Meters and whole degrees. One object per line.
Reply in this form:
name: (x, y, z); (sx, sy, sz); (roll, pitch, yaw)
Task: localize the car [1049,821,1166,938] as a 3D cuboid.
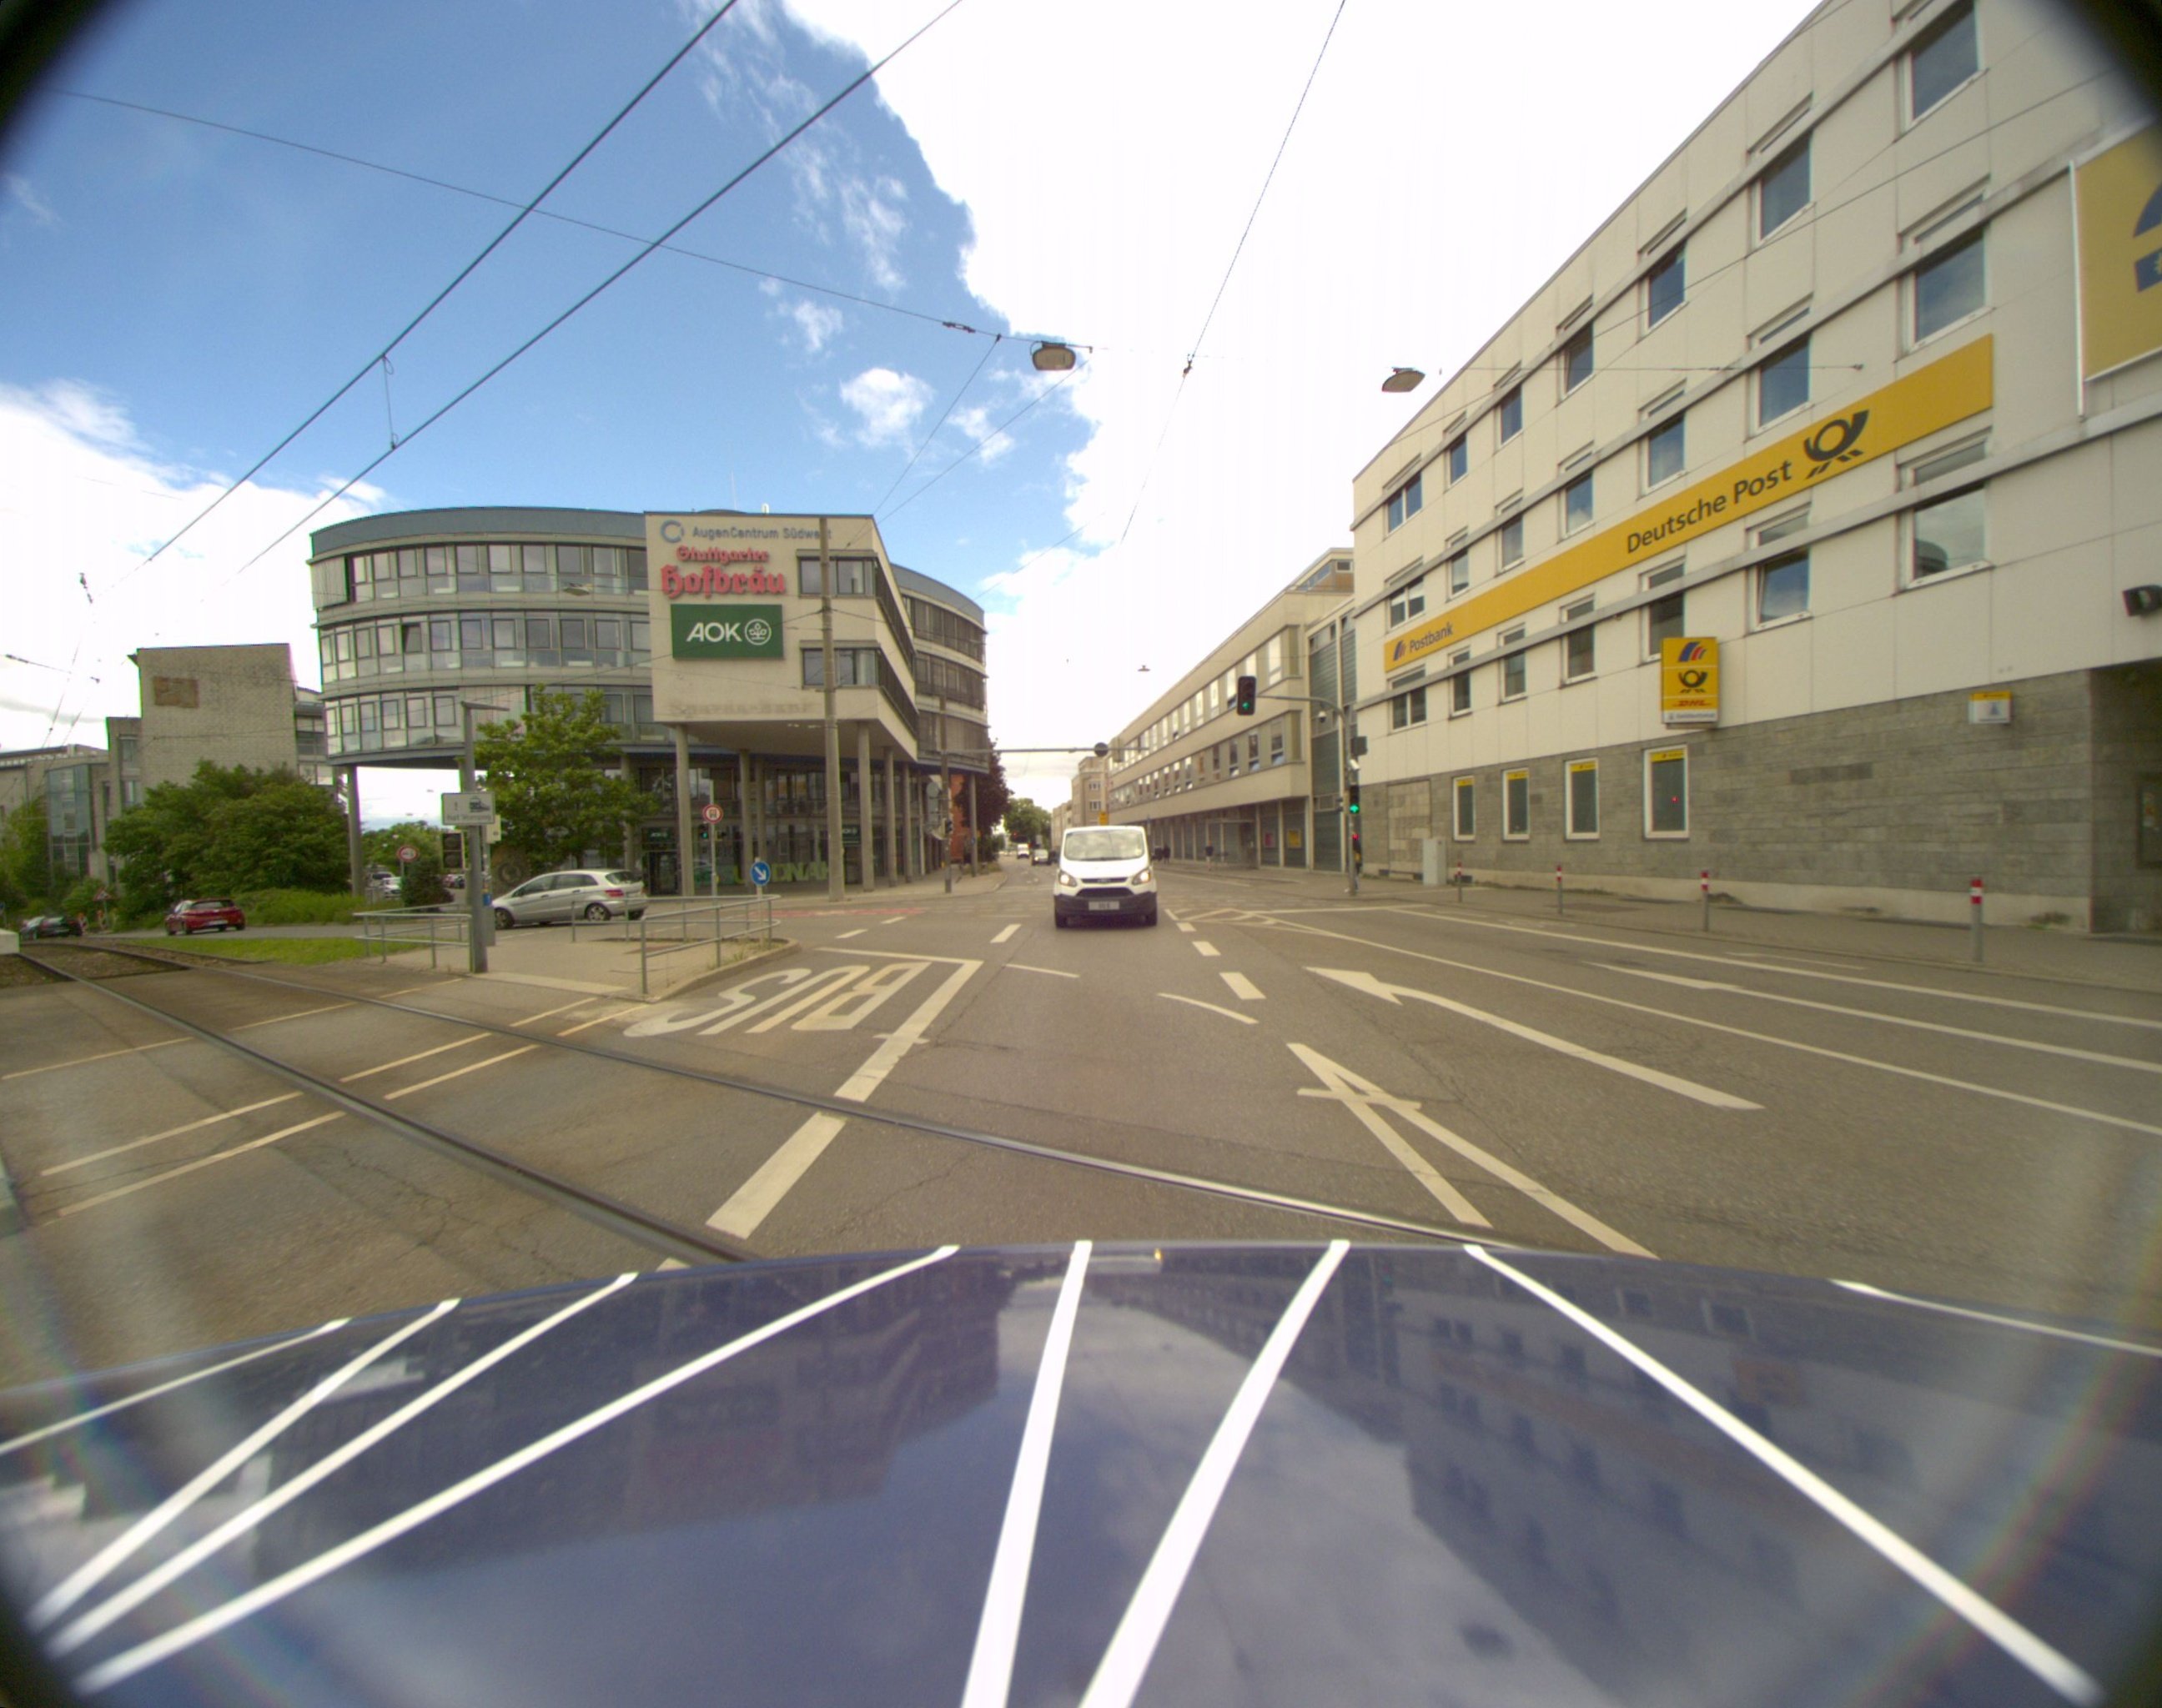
car: (0.413, 0.441, 16.146); (1.999, 2.002, 4.998); (-3, 1, -2)

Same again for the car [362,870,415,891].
car: (-73.764, 2.786, 80.990); (4.007, 2.002, 1.995); (-3, 1, -39)

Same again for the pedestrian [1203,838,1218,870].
pedestrian: (7.492, -0.027, 43.888); (0.588, 1.793, 0.526); (-5, 1, -7)

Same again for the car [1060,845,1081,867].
car: (-1.090, 0.178, 76.919); (1.999, 2.002, 4.485); (-3, 1, -2)

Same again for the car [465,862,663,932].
car: (-14.886, 1.213, 22.043); (4.314, 1.701, 2.000); (-3, 1, 2)

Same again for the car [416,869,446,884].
car: (-84.334, 2.896, 98.675); (2.003, 1.700, 4.309); (-3, 1, -29)

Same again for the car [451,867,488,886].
car: (-62.489, 2.291, 77.635); (4.307, 1.700, 2.004); (-2, 1, 39)

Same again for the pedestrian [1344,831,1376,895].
pedestrian: (8.099, 0.250, 22.072); (0.588, 1.793, 0.526); (-5, 1, -7)

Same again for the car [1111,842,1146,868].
car: (3.916, 0.051, 63.383); (2.000, 2.002, 4.483); (-3, 1, -9)

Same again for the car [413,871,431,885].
car: (-100.322, 3.584, 115.705); (2.004, 2.002, 3.989); (-3, 1, -40)

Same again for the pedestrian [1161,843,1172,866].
pedestrian: (6.796, 0.029, 60.595); (0.588, 1.793, 0.526); (-5, 1, -7)

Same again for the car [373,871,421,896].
car: (-51.729, 2.235, 57.447); (4.307, 1.700, 2.004); (-2, 1, 39)

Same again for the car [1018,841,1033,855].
car: (-9.548, -1.019, 130.787); (2.000, 2.402, 4.483); (-3, 1, -9)

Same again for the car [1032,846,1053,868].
car: (-3.791, 0.302, 75.270); (1.999, 2.002, 4.485); (-3, 1, -2)

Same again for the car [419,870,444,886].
car: (-88.794, 3.273, 103.869); (2.003, 2.002, 3.990); (-3, 1, -33)

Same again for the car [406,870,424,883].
car: (-107.411, 3.617, 122.555); (2.004, 2.002, 3.989); (-3, 1, -40)

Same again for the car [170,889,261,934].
car: (-38.027, 2.475, 33.353); (4.307, 1.701, 2.003); (-2, 1, 34)
